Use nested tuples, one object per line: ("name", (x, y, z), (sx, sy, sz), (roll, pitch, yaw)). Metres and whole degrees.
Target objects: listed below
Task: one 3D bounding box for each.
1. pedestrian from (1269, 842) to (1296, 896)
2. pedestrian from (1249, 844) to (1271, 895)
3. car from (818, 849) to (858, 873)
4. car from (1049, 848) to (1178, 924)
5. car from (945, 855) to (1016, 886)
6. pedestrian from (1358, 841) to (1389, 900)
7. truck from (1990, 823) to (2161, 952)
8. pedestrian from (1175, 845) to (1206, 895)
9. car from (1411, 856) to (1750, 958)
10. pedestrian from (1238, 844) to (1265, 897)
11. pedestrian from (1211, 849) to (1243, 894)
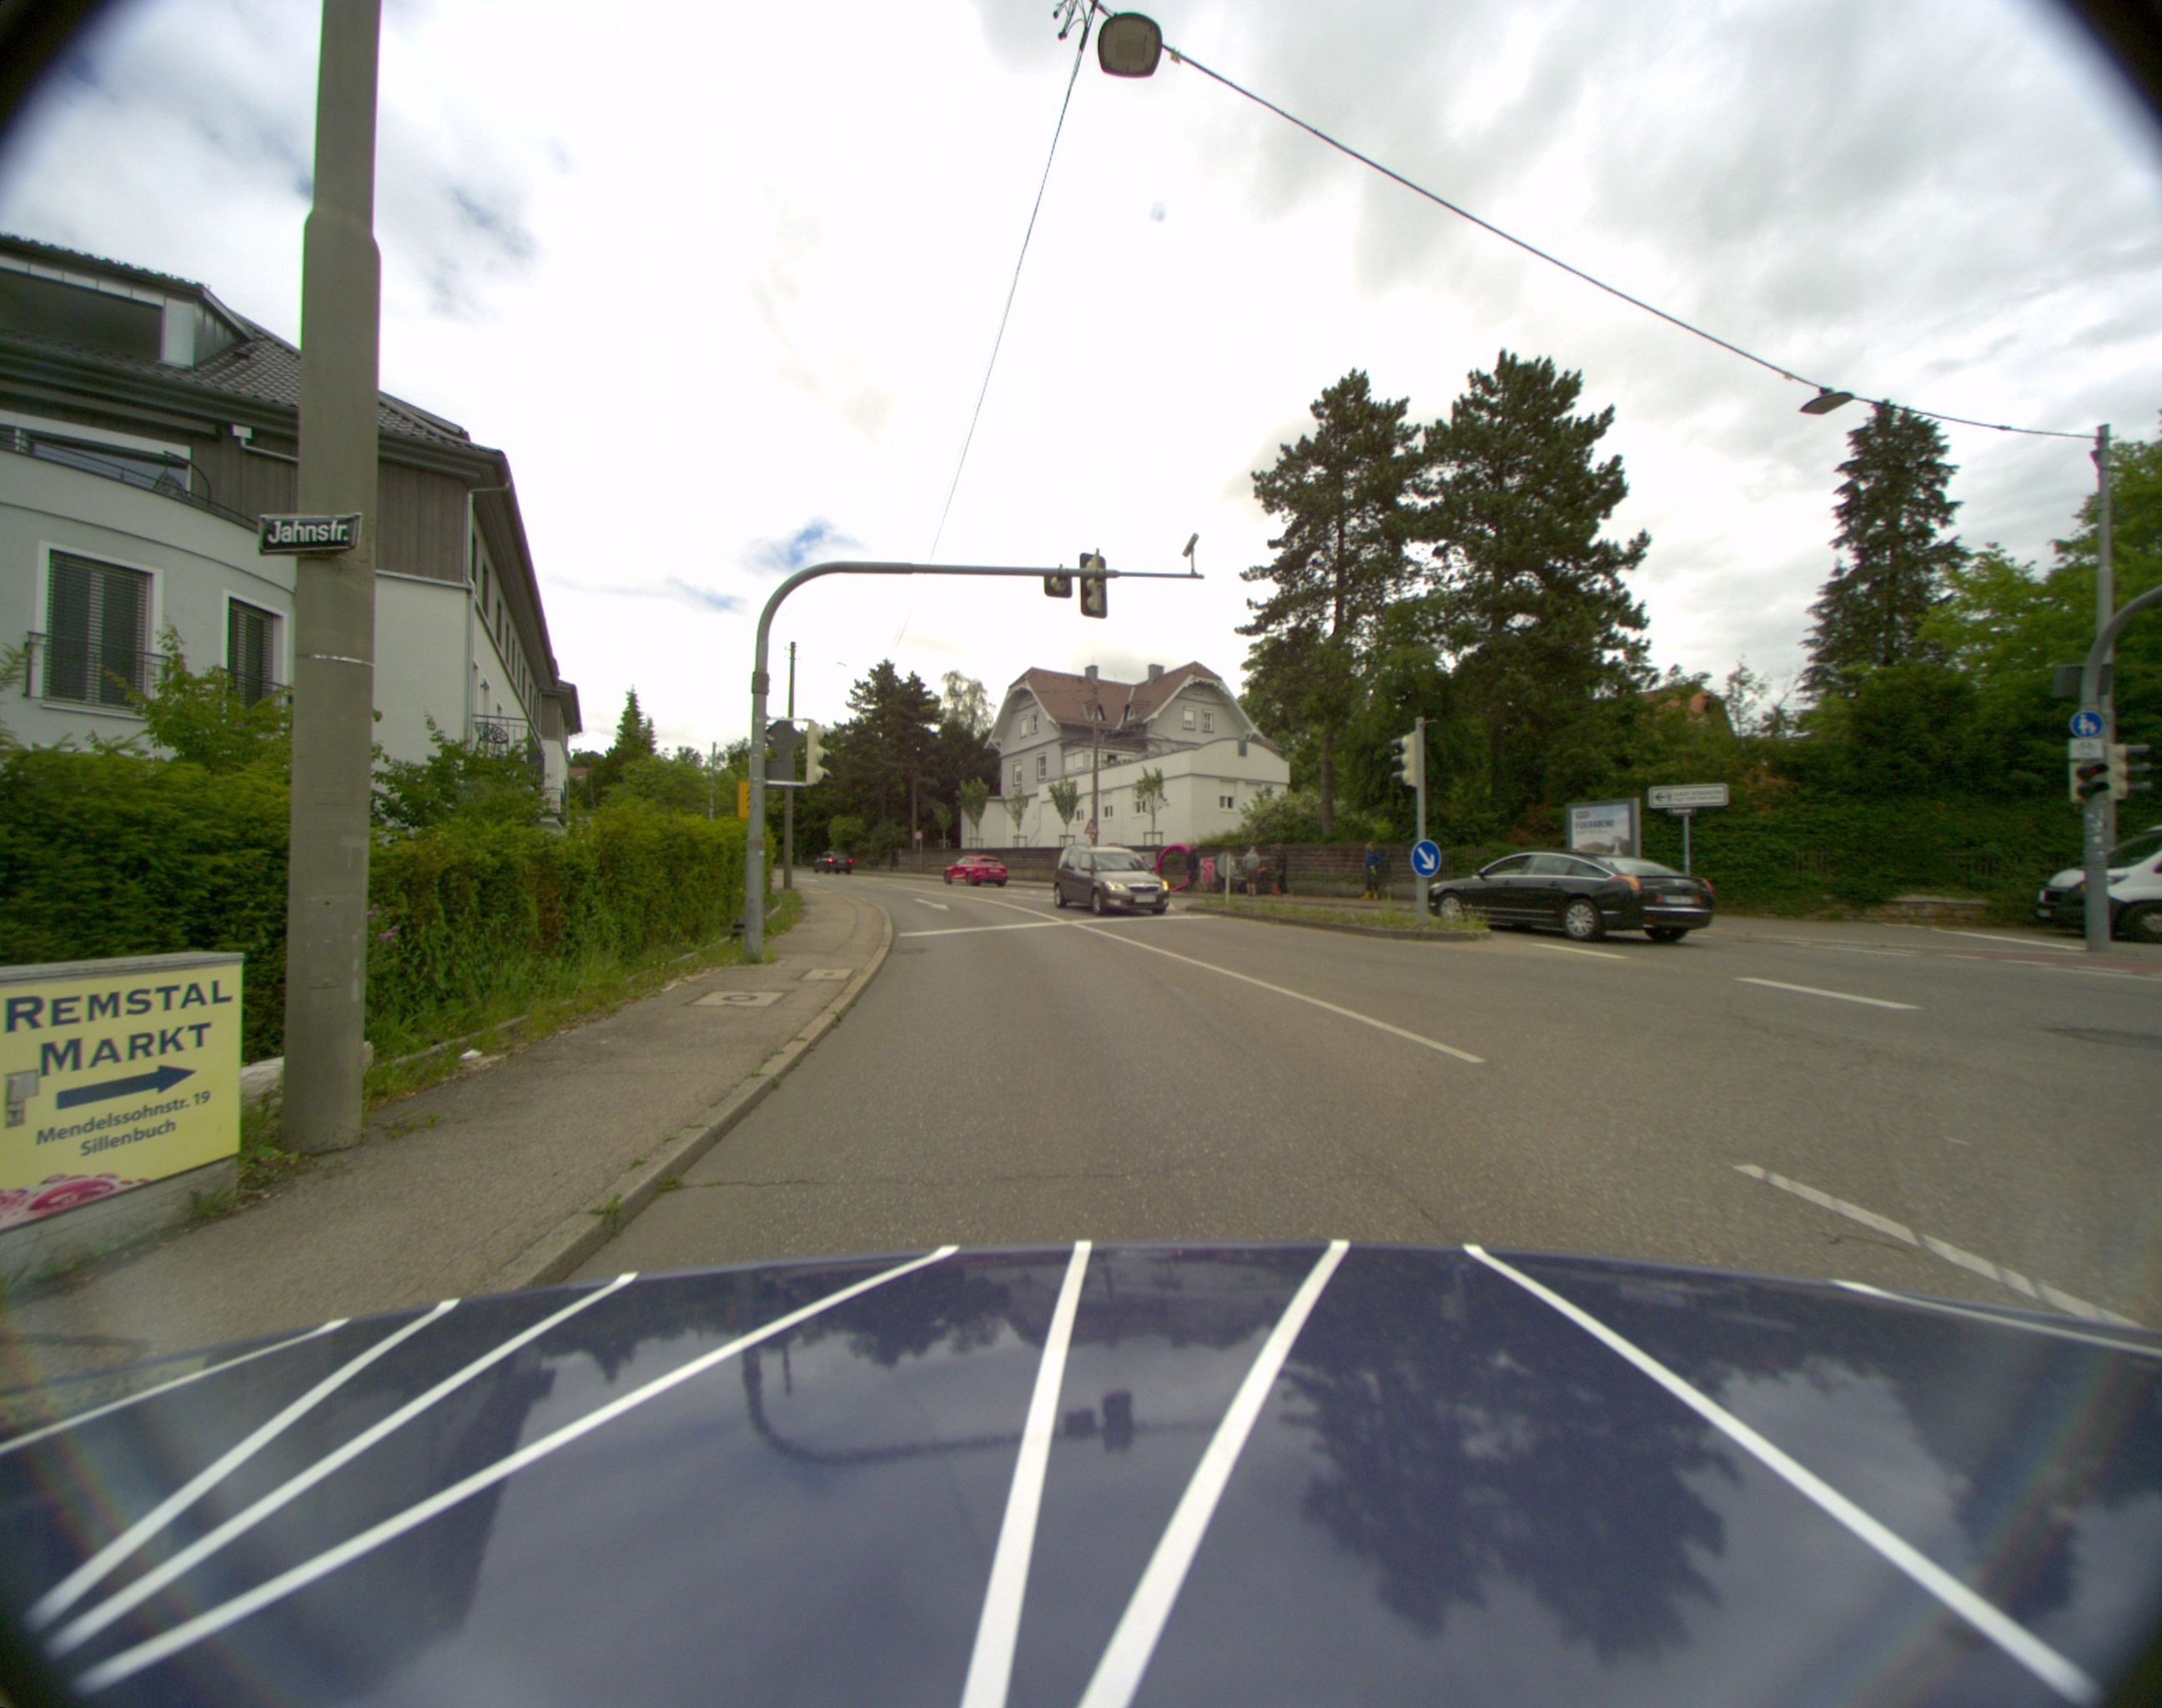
("pedestrian", (6.843, 0.511, 25.843), (0.605, 1.824, 0.611), (0, 1, -39))
("pedestrian", (6.391, 0.551, 27.110), (0.511, 1.802, 0.503), (0, 1, -37))
("car", (-18.119, 0.490, 56.547), (1.936, 1.669, 3.561), (2, 0, -33))
("car", (0.639, 0.664, 18.034), (1.620, 1.571, 3.994), (-1, 1, -20))
("car", (-4.865, 0.758, 36.462), (1.812, 1.348, 3.989), (2, -1, -33))
("pedestrian", (9.196, 0.510, 23.874), (0.680, 1.824, 0.611), (0, 1, -40))
("truck", (20.635, 0.577, 12.592), (6.698, 2.176, 2.535), (1, 1, 35))
("pedestrian", (4.041, 0.566, 28.010), (0.882, 1.803, 0.686), (0, 1, -37))
("car", (8.249, 0.750, 13.324), (2.001, 1.414, 5.052), (0, 0, -12))
("pedestrian", (5.860, 0.558, 26.129), (0.614, 1.777, 0.665), (0, 1, -37))
("pedestrian", (5.401, 0.644, 28.071), (0.882, 1.643, 0.749), (0, 1, -37))
